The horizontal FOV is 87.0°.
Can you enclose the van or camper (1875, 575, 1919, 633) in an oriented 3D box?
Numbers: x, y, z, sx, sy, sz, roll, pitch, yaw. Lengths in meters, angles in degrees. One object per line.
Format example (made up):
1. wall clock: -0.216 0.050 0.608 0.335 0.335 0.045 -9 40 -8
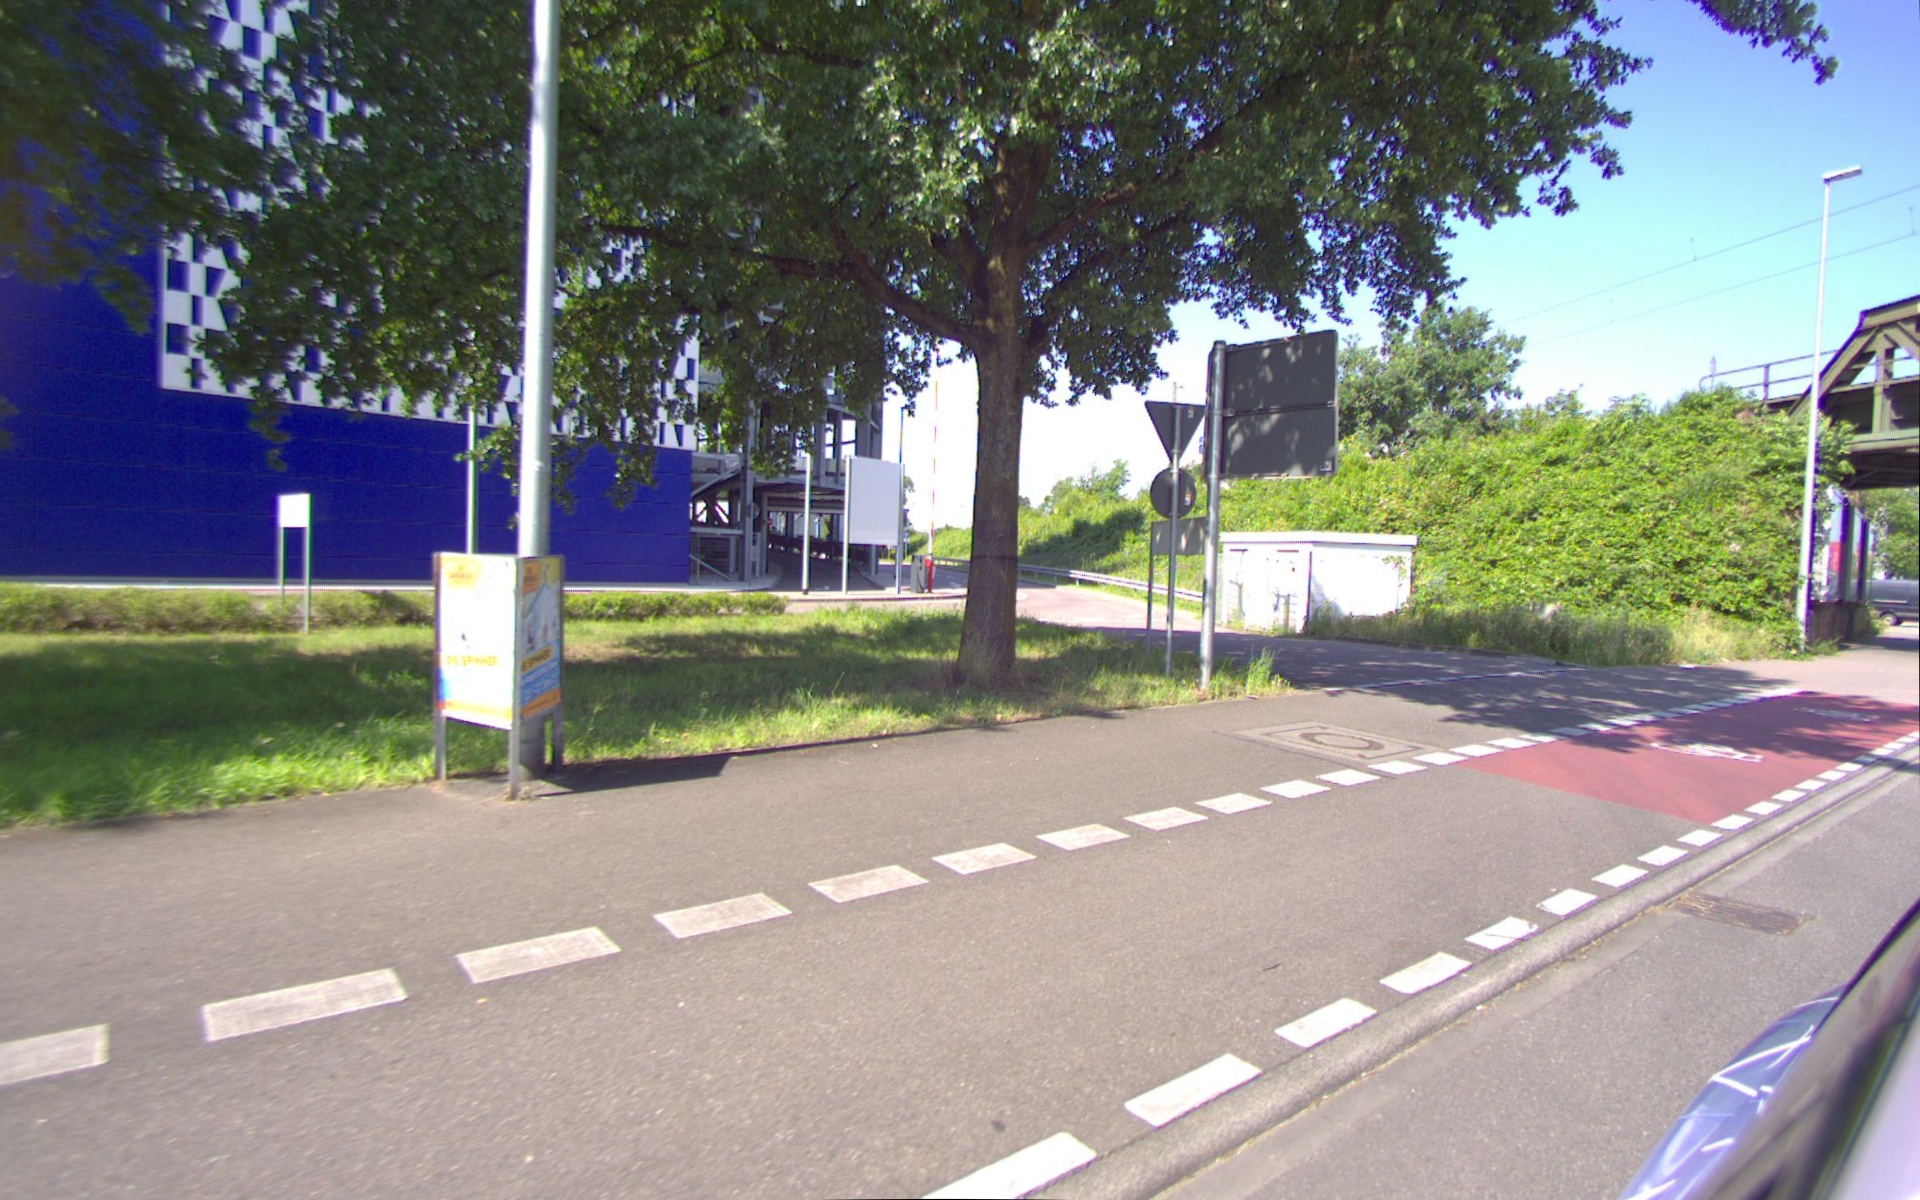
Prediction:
1. van or camper: 54.232 0.246 55.538 2.555 3.195 5.772 2 -1 -41
